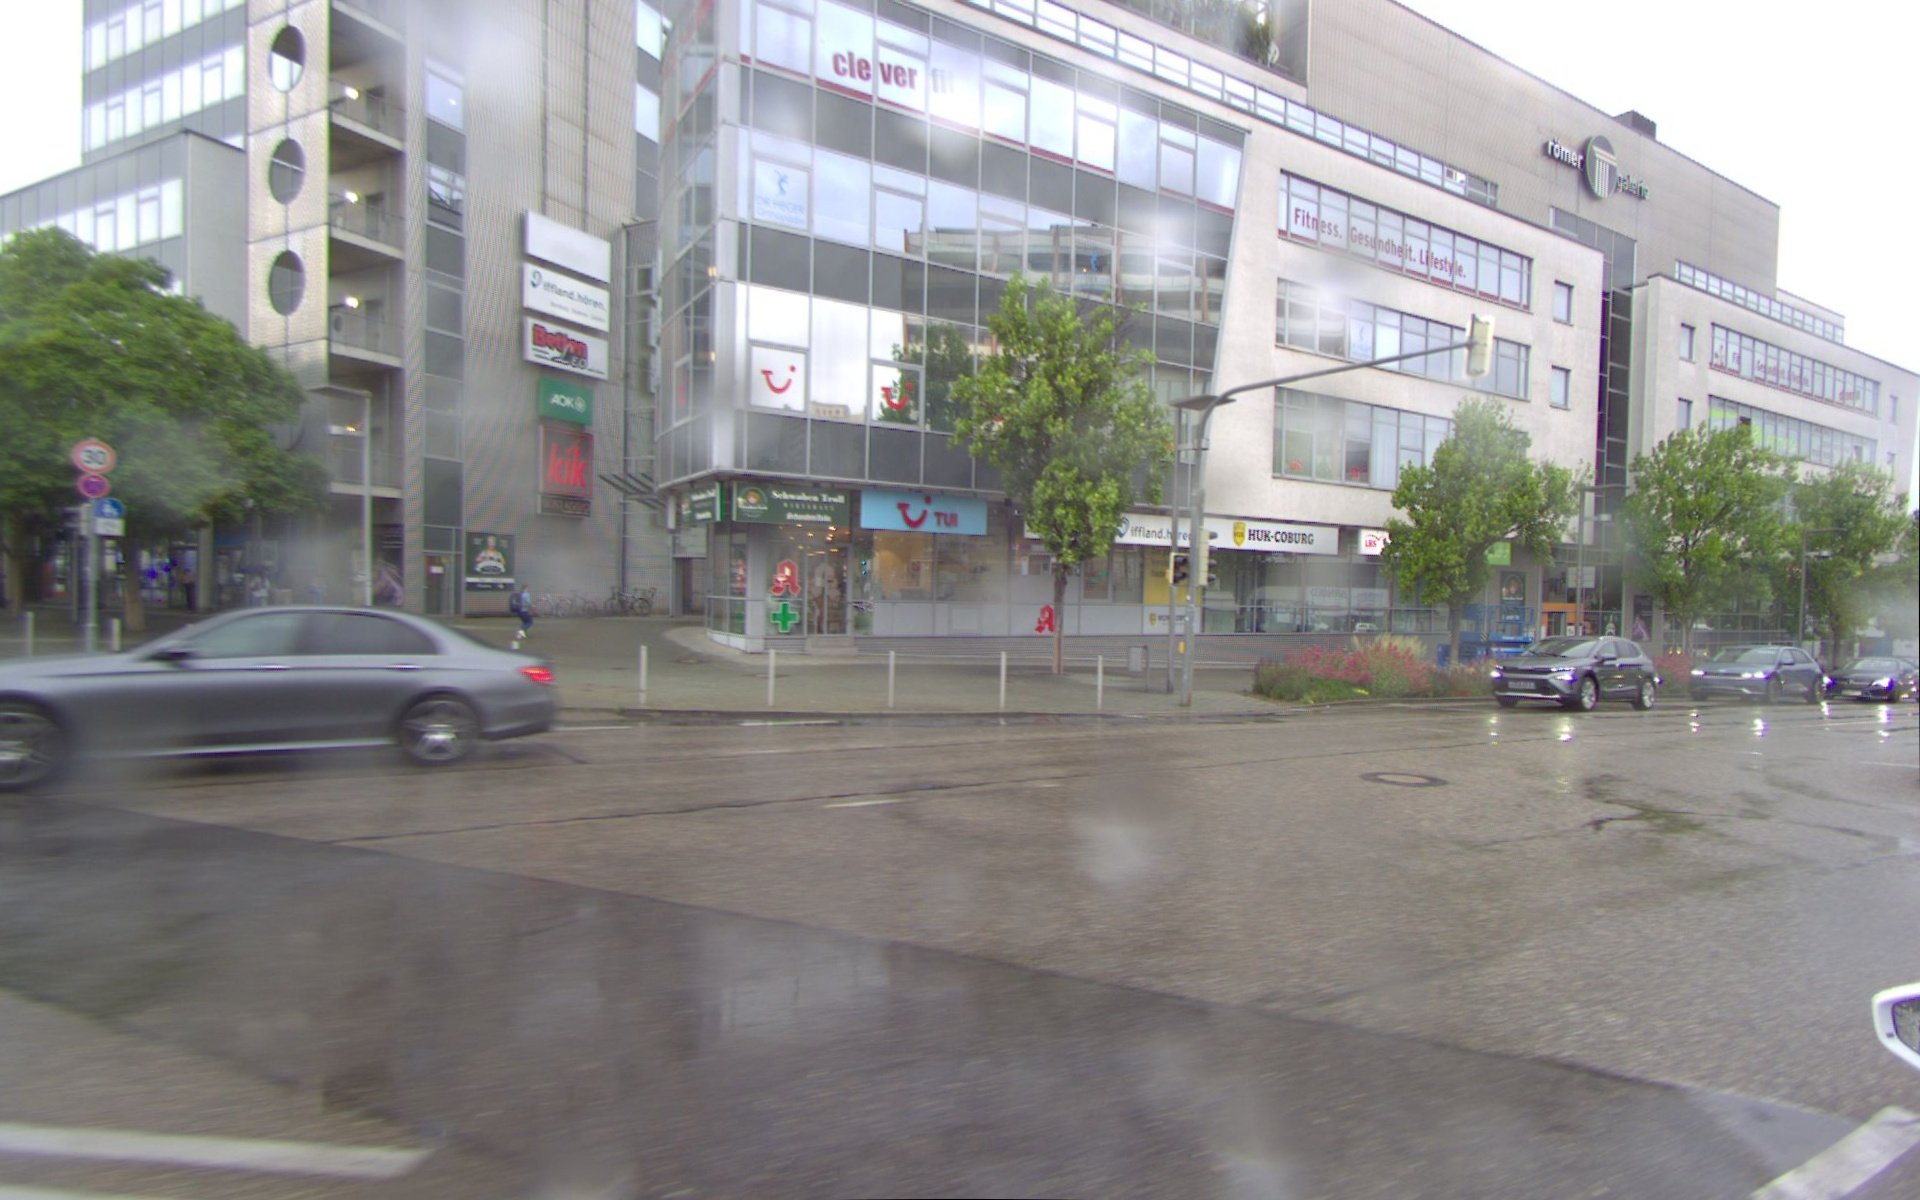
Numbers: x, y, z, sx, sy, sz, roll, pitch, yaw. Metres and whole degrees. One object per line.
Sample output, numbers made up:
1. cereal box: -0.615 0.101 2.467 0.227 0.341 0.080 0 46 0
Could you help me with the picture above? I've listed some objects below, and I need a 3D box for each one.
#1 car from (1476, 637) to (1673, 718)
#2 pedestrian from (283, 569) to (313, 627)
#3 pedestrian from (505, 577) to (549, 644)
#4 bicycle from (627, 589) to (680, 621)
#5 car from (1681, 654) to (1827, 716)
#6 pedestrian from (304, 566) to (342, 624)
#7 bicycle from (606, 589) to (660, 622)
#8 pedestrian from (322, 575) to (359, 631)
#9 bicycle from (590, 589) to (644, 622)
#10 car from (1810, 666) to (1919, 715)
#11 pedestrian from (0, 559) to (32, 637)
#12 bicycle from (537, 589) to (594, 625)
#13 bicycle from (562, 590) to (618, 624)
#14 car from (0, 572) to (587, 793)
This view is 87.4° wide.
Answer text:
1. car: 13.550 1.678 22.103 4.473 1.614 1.866 2 -4 -32
2. pedestrian: -22.186 -0.085 33.672 0.745 1.893 0.826 -2 3 -32
3. pedestrian: -12.311 0.299 28.544 1.012 1.843 0.841 1 0 -31
4. bicycle: -12.744 0.203 41.794 2.238 1.263 0.676 1 0 27
5. car: 22.497 2.354 28.431 4.537 1.614 1.765 2 -4 -32
6. pedestrian: -21.229 -0.174 33.479 0.818 1.893 0.752 1 0 27
7. bicycle: -13.290 0.223 40.807 2.238 1.263 0.676 1 0 27
8. pedestrian: -21.284 0.115 34.538 0.738 1.893 0.833 1 0 1
9. bicycle: -13.678 0.215 40.042 2.238 1.263 0.676 1 0 27
10. car: 29.138 2.849 32.166 4.552 1.406 1.715 2 -2 -33
11. pedestrian: -25.796 -0.078 26.782 1.303 2.041 1.164 2 1 26
12. bicycle: -14.817 0.258 37.718 2.238 1.263 0.676 1 0 27
13. bicycle: -14.298 0.258 38.789 2.238 1.263 0.676 1 0 27
14. car: -6.187 0.639 9.262 4.850 1.653 1.909 1 0 -33
